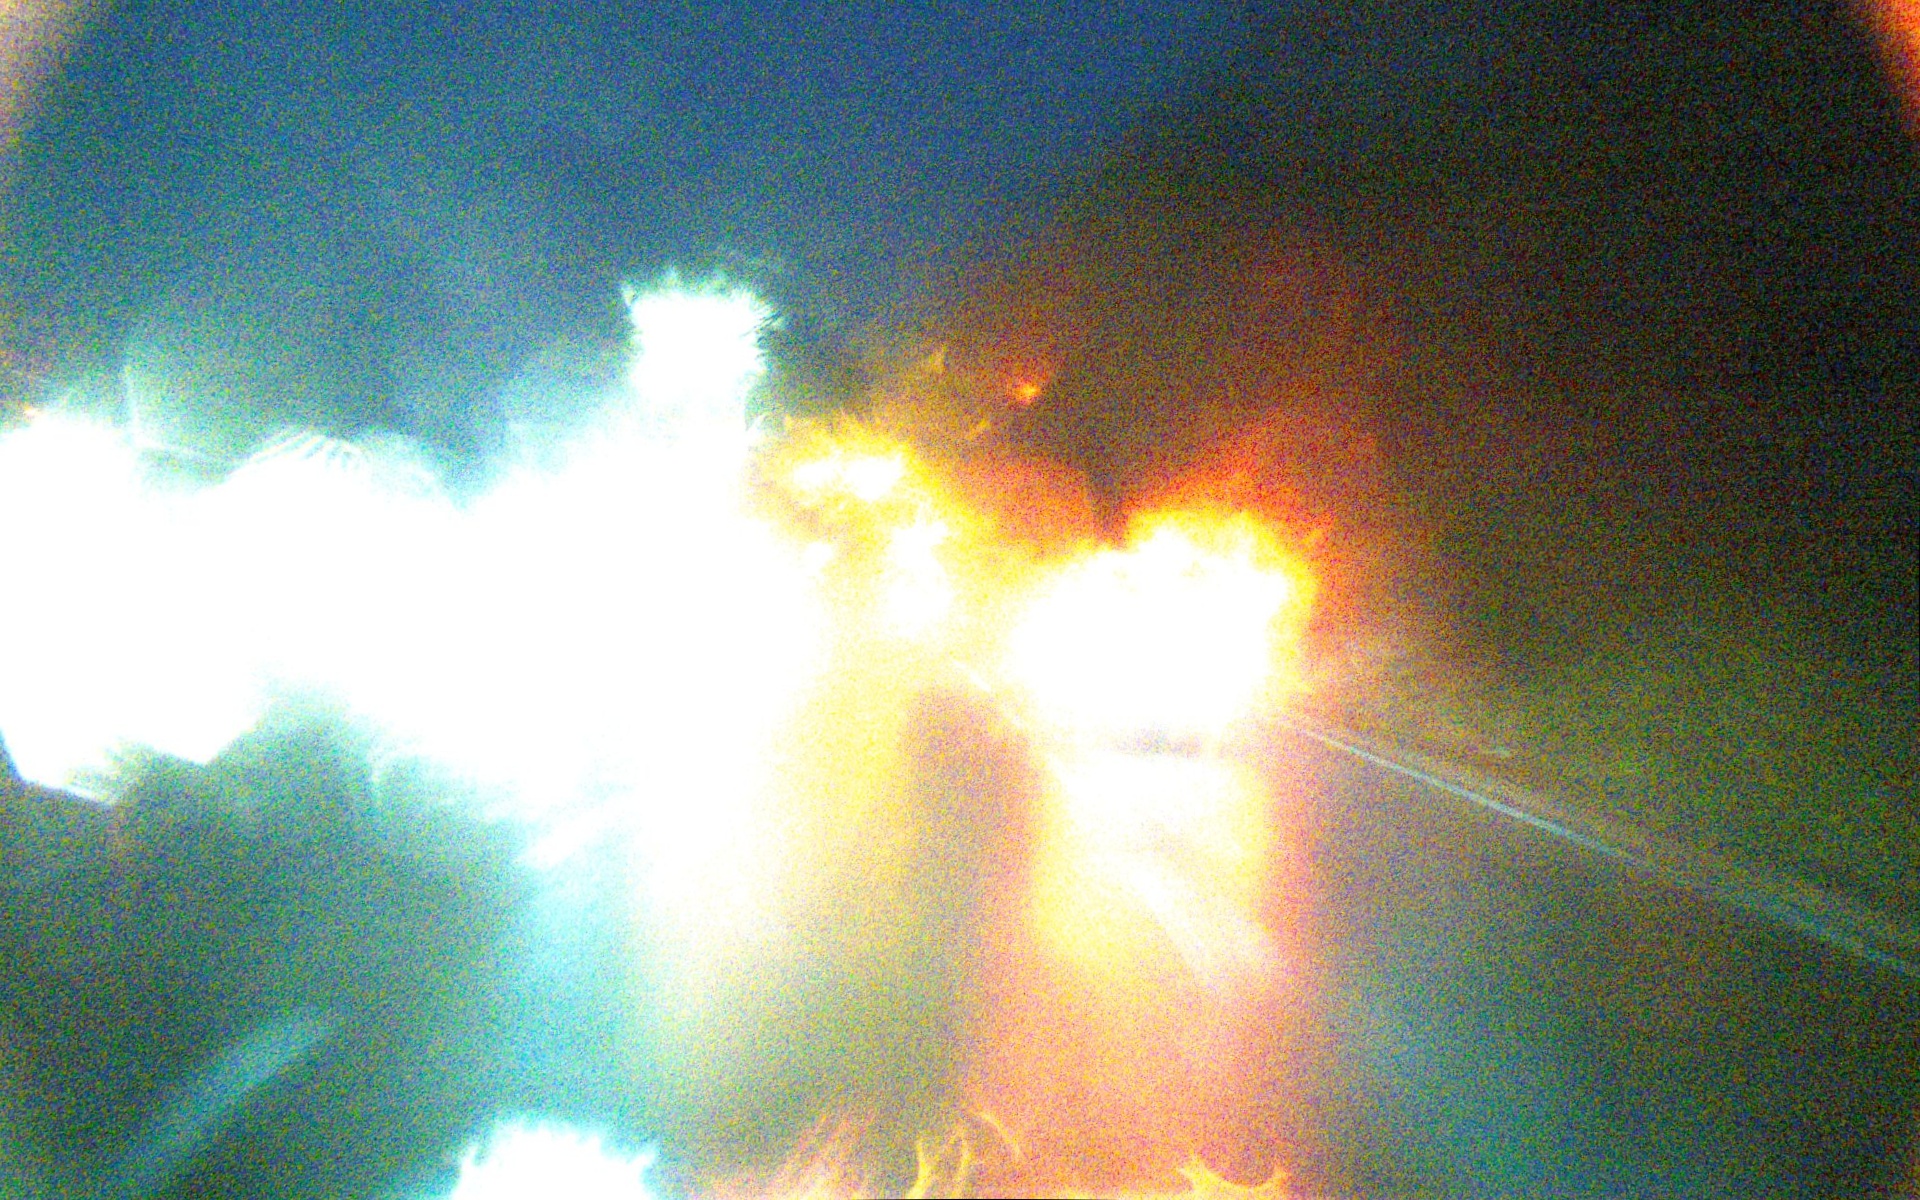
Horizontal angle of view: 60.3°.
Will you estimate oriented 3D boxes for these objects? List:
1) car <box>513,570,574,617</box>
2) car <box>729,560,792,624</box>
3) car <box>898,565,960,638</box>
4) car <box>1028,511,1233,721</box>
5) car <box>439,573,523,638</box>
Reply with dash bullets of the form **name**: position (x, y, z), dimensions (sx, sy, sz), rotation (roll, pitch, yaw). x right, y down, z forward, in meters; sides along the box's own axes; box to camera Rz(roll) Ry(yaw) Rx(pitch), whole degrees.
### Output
- **car**: position (-15.833, -0.277, 63.089), dimensions (1.728, 1.670, 4.644), rotation (2, 1, -8)
- **car**: position (-5.956, -0.279, 49.446), dimensions (1.750, 1.813, 4.430), rotation (0, 1, -7)
- **car**: position (-0.908, 0.003, 49.125), dimensions (1.755, 2.057, 4.579), rotation (1, 1, -1)
- **car**: position (1.777, 0.126, 18.613), dimensions (1.755, 2.057, 4.579), rotation (1, 1, -1)
- **car**: position (-12.811, 0.143, 44.398), dimensions (1.770, 1.616, 4.020), rotation (2, 0, -11)
